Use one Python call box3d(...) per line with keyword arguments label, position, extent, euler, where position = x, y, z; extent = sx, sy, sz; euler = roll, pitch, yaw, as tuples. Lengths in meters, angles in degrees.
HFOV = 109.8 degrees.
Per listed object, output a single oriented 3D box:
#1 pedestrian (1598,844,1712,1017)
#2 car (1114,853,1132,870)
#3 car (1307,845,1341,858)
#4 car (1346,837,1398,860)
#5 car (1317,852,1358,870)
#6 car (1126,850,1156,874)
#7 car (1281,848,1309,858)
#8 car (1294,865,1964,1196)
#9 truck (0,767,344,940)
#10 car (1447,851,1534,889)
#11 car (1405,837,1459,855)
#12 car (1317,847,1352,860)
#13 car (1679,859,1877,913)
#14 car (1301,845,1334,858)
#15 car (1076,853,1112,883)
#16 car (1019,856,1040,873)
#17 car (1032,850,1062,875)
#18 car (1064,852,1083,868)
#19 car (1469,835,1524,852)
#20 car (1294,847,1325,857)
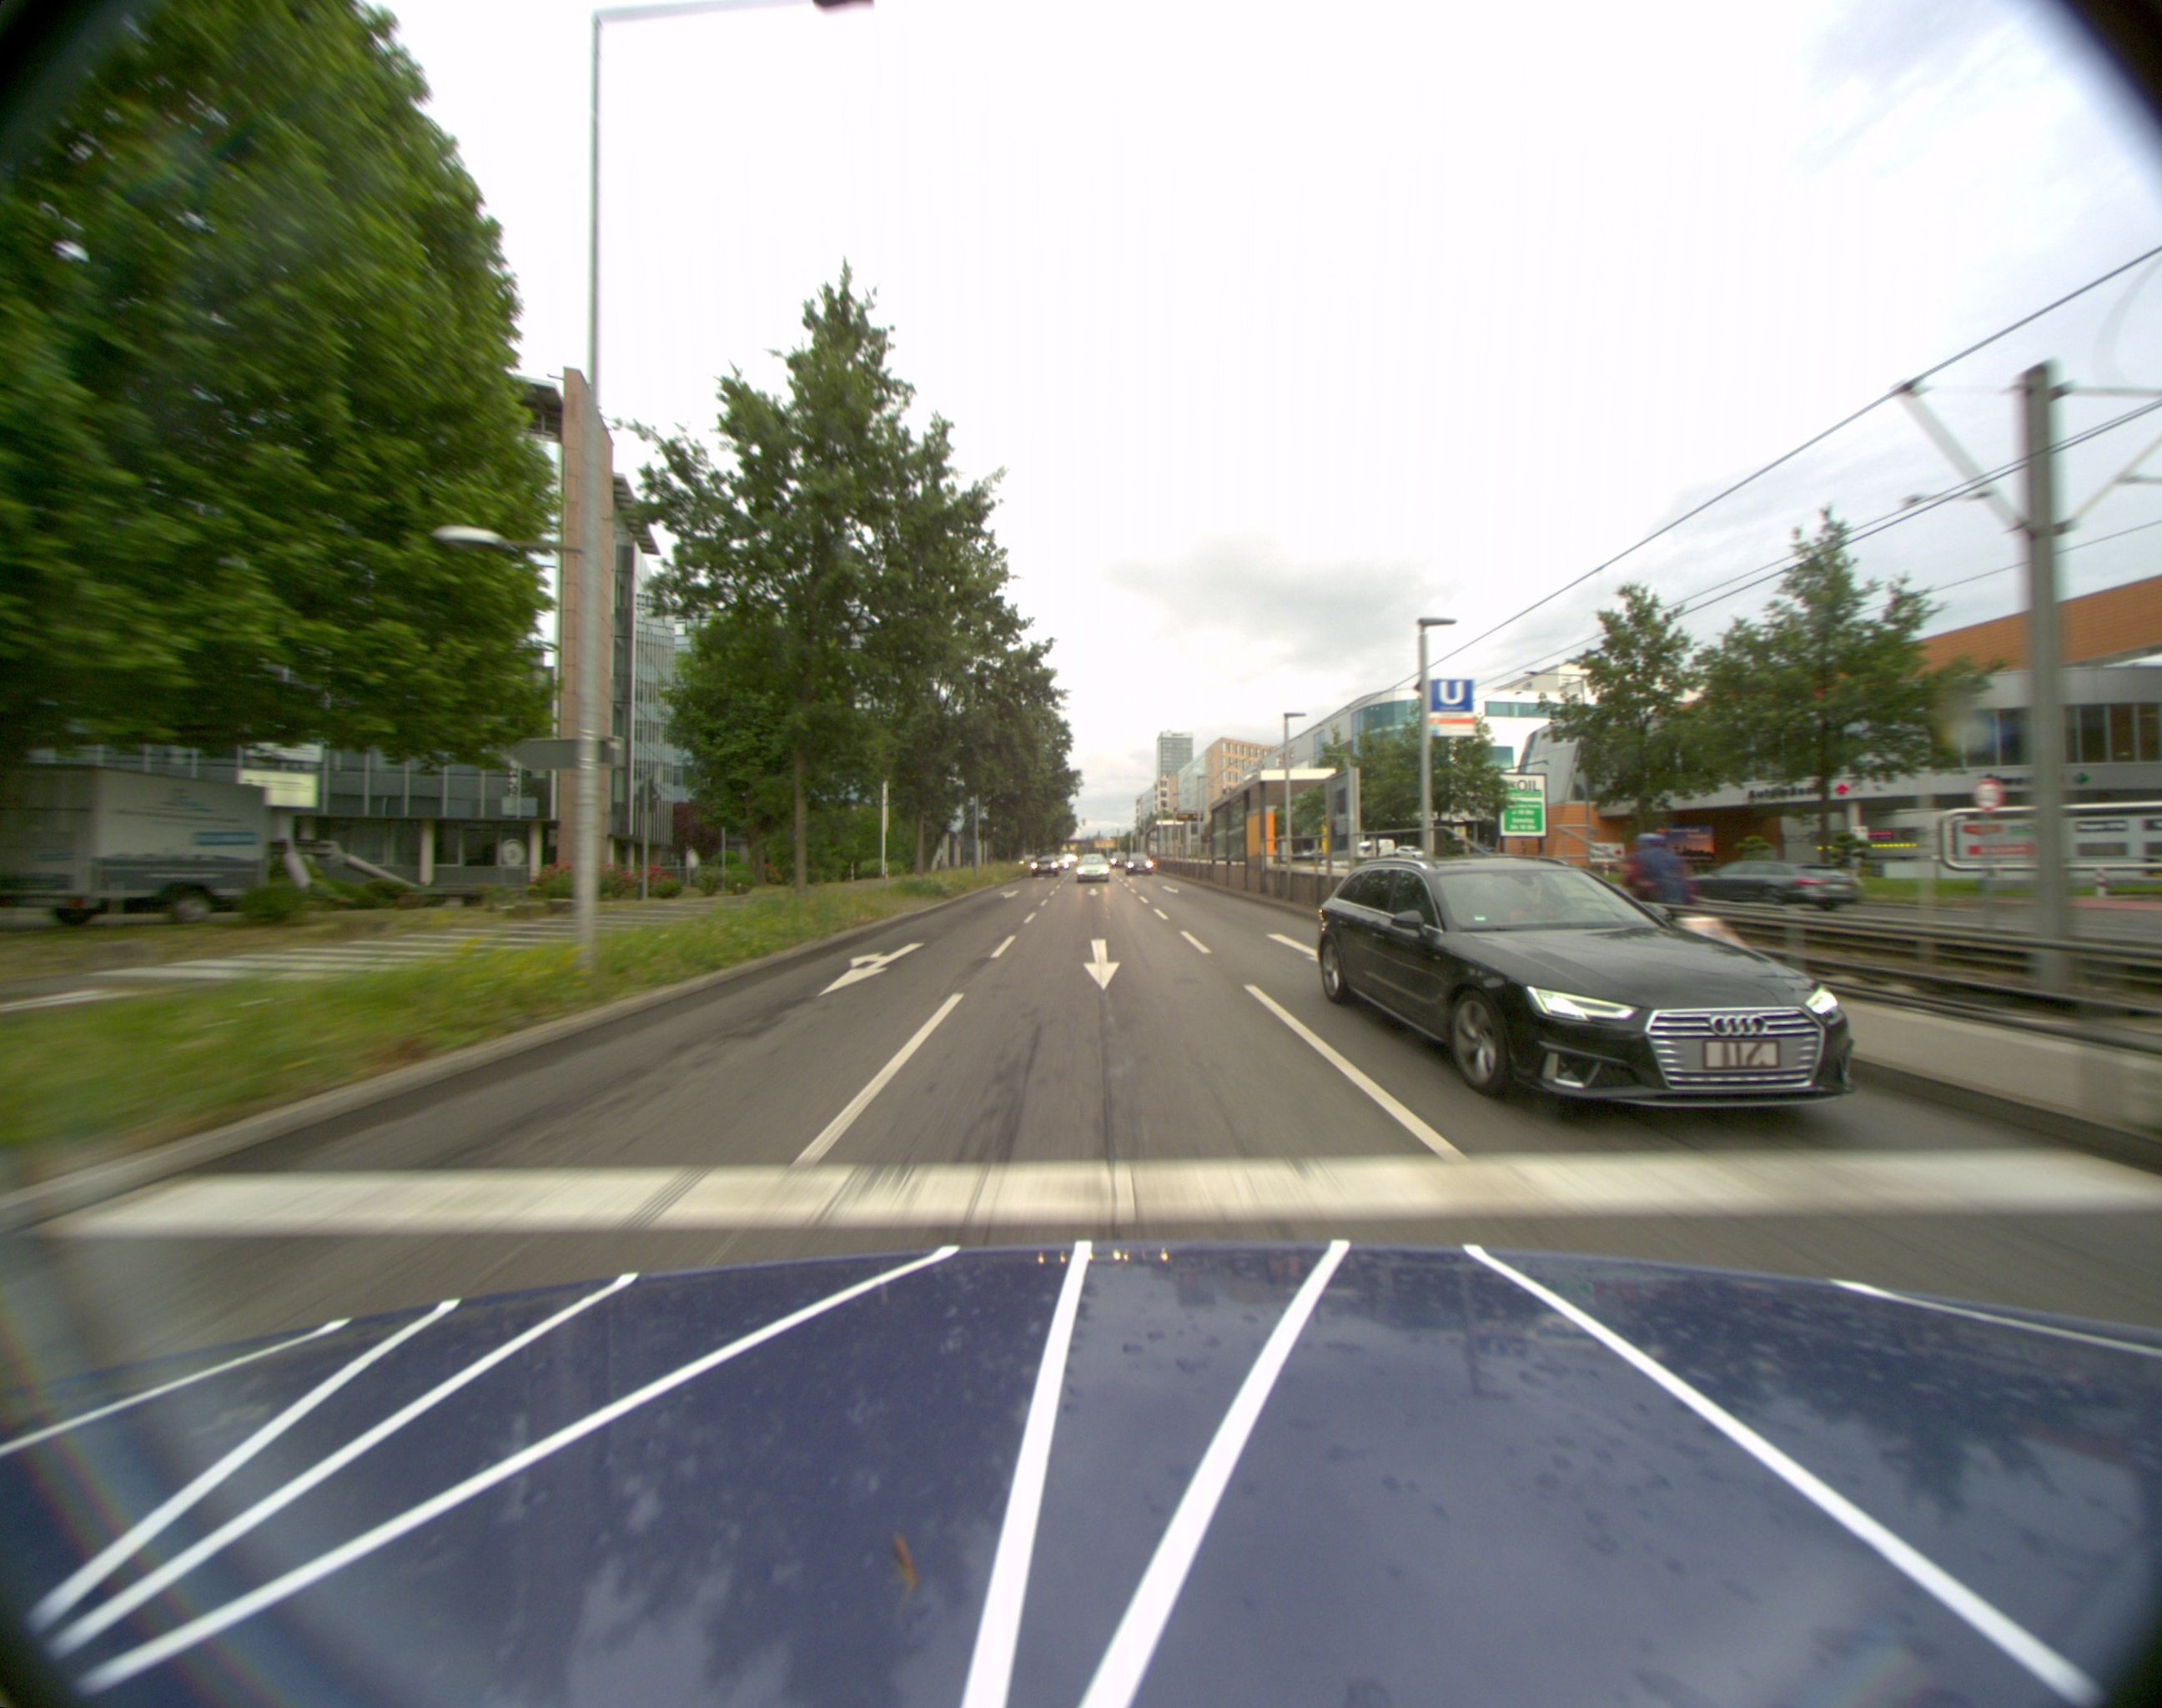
box3d(label="pedestrian", position=(5.809, 0.734, 7.699), extent=(0.704, 1.641, 0.648), euler=(-2, 0, -28))
box3d(label="car", position=(4.409, 0.747, 80.166), extent=(1.781, 1.670, 4.131), euler=(-1, 0, 1))
box3d(label="car", position=(34.184, -0.324, 106.825), extent=(3.999, 1.652, 1.921), euler=(-3, 0, -6))
box3d(label="car", position=(35.184, -0.680, 91.850), extent=(5.487, 2.614, 2.276), euler=(-3, 1, -16))
box3d(label="car", position=(23.496, 0.642, 69.737), extent=(1.999, 1.509, 4.706), euler=(-2, 1, -1))
box3d(label="car", position=(4.108, 0.534, 52.438), extent=(1.798, 1.493, 4.000), euler=(-1, 0, 1))
box3d(label="car", position=(34.185, -0.226, 121.248), extent=(3.845, 1.482, 1.821), euler=(-2, 0, -17))
box3d(label="car", position=(3.221, 0.861, 5.945), extent=(1.794, 1.426, 4.828), euler=(-1, 0, 1))
box3d(label="truck", position=(-15.687, -0.016, 13.232), extent=(1.751, 2.503, 3.998), euler=(-2, 1, -2))
box3d(label="car", position=(20.281, 0.754, 37.852), extent=(1.998, 1.764, 4.389), euler=(-1, 0, 1))
box3d(label="car", position=(42.297, -0.961, 91.681), extent=(5.483, 1.915, 2.278), euler=(-2, 1, -5))
box3d(label="car", position=(33.702, -0.040, 101.192), extent=(3.999, 1.499, 1.896), euler=(-2, 1, -7))
box3d(label="car", position=(20.796, 0.901, 22.977), extent=(1.858, 1.419, 4.388), euler=(1, 0, -1))
box3d(label="car", position=(34.016, -0.352, 109.495), extent=(3.999, 1.652, 1.921), euler=(-4, 0, -6))
box3d(label="car", position=(0.711, 0.713, 41.016), extent=(1.803, 1.533, 4.374), euler=(-1, 0, 1))
box3d(label="car", position=(-5.383, 1.090, 80.018), extent=(1.816, 1.660, 4.370), euler=(-1, 0, 1))
box3d(label="car", position=(-2.399, 0.605, 54.643), extent=(1.816, 1.660, 4.548), euler=(-1, 0, 1))
box3d(label="car", position=(-0.744, 0.621, 77.688), extent=(1.873, 1.533, 4.107), euler=(-1, 0, 1))
box3d(label="car", position=(51.045, -1.295, 93.407), extent=(5.483, 1.915, 2.278), euler=(-2, 1, -5))
box3d(label="car", position=(33.788, -0.280, 112.443), extent=(3.999, 1.482, 1.823), euler=(-2, 0, -6))
